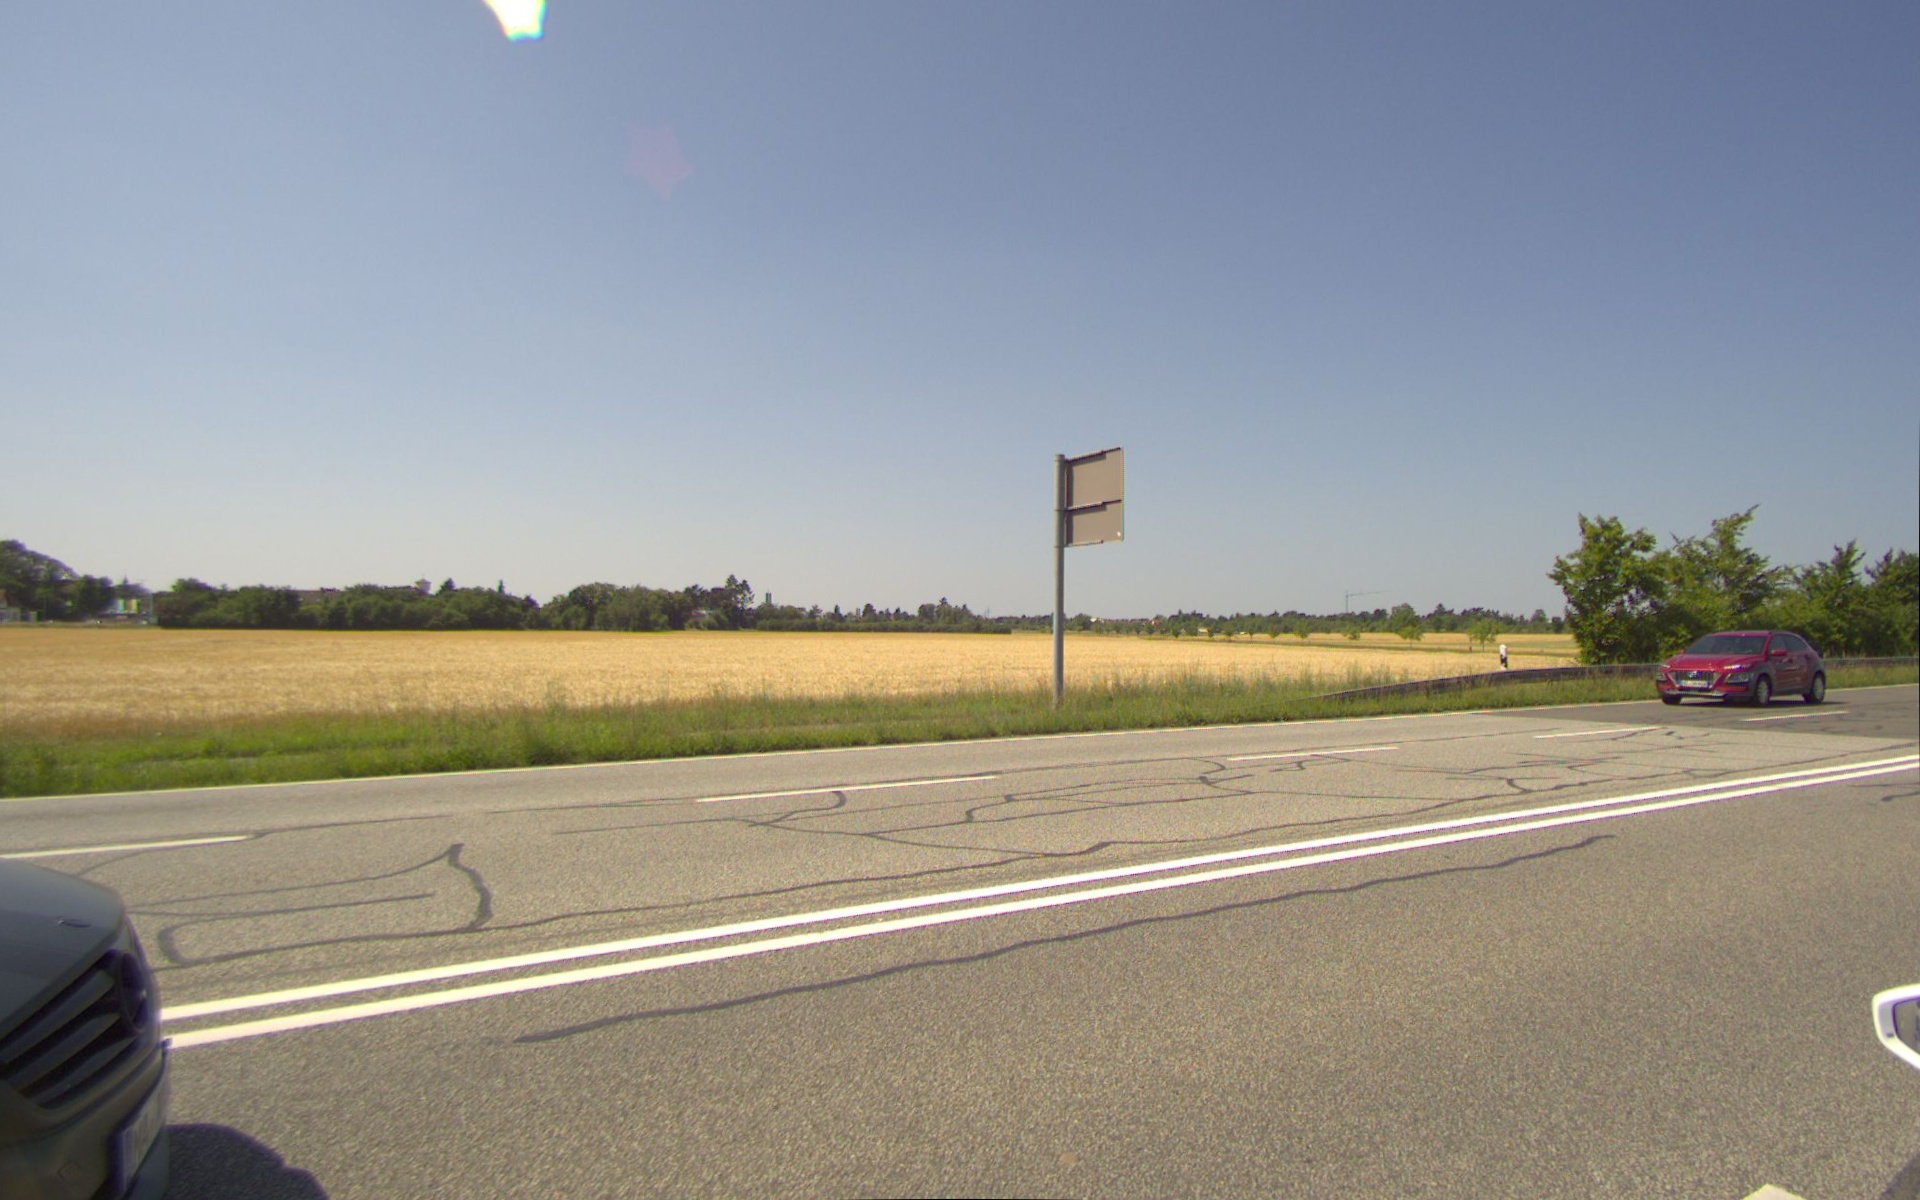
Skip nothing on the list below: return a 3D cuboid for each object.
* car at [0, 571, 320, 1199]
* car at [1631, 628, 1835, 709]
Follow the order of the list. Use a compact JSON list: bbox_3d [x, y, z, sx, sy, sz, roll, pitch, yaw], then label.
[{"bbox_3d":[-3.584,0.635,1.028,4.820,1.469,1.802,2,0,-30],"label":"car"},{"bbox_3d":[16.606,1.406,21.555,4.260,1.582,1.985,1,-2,-30],"label":"car"}]
